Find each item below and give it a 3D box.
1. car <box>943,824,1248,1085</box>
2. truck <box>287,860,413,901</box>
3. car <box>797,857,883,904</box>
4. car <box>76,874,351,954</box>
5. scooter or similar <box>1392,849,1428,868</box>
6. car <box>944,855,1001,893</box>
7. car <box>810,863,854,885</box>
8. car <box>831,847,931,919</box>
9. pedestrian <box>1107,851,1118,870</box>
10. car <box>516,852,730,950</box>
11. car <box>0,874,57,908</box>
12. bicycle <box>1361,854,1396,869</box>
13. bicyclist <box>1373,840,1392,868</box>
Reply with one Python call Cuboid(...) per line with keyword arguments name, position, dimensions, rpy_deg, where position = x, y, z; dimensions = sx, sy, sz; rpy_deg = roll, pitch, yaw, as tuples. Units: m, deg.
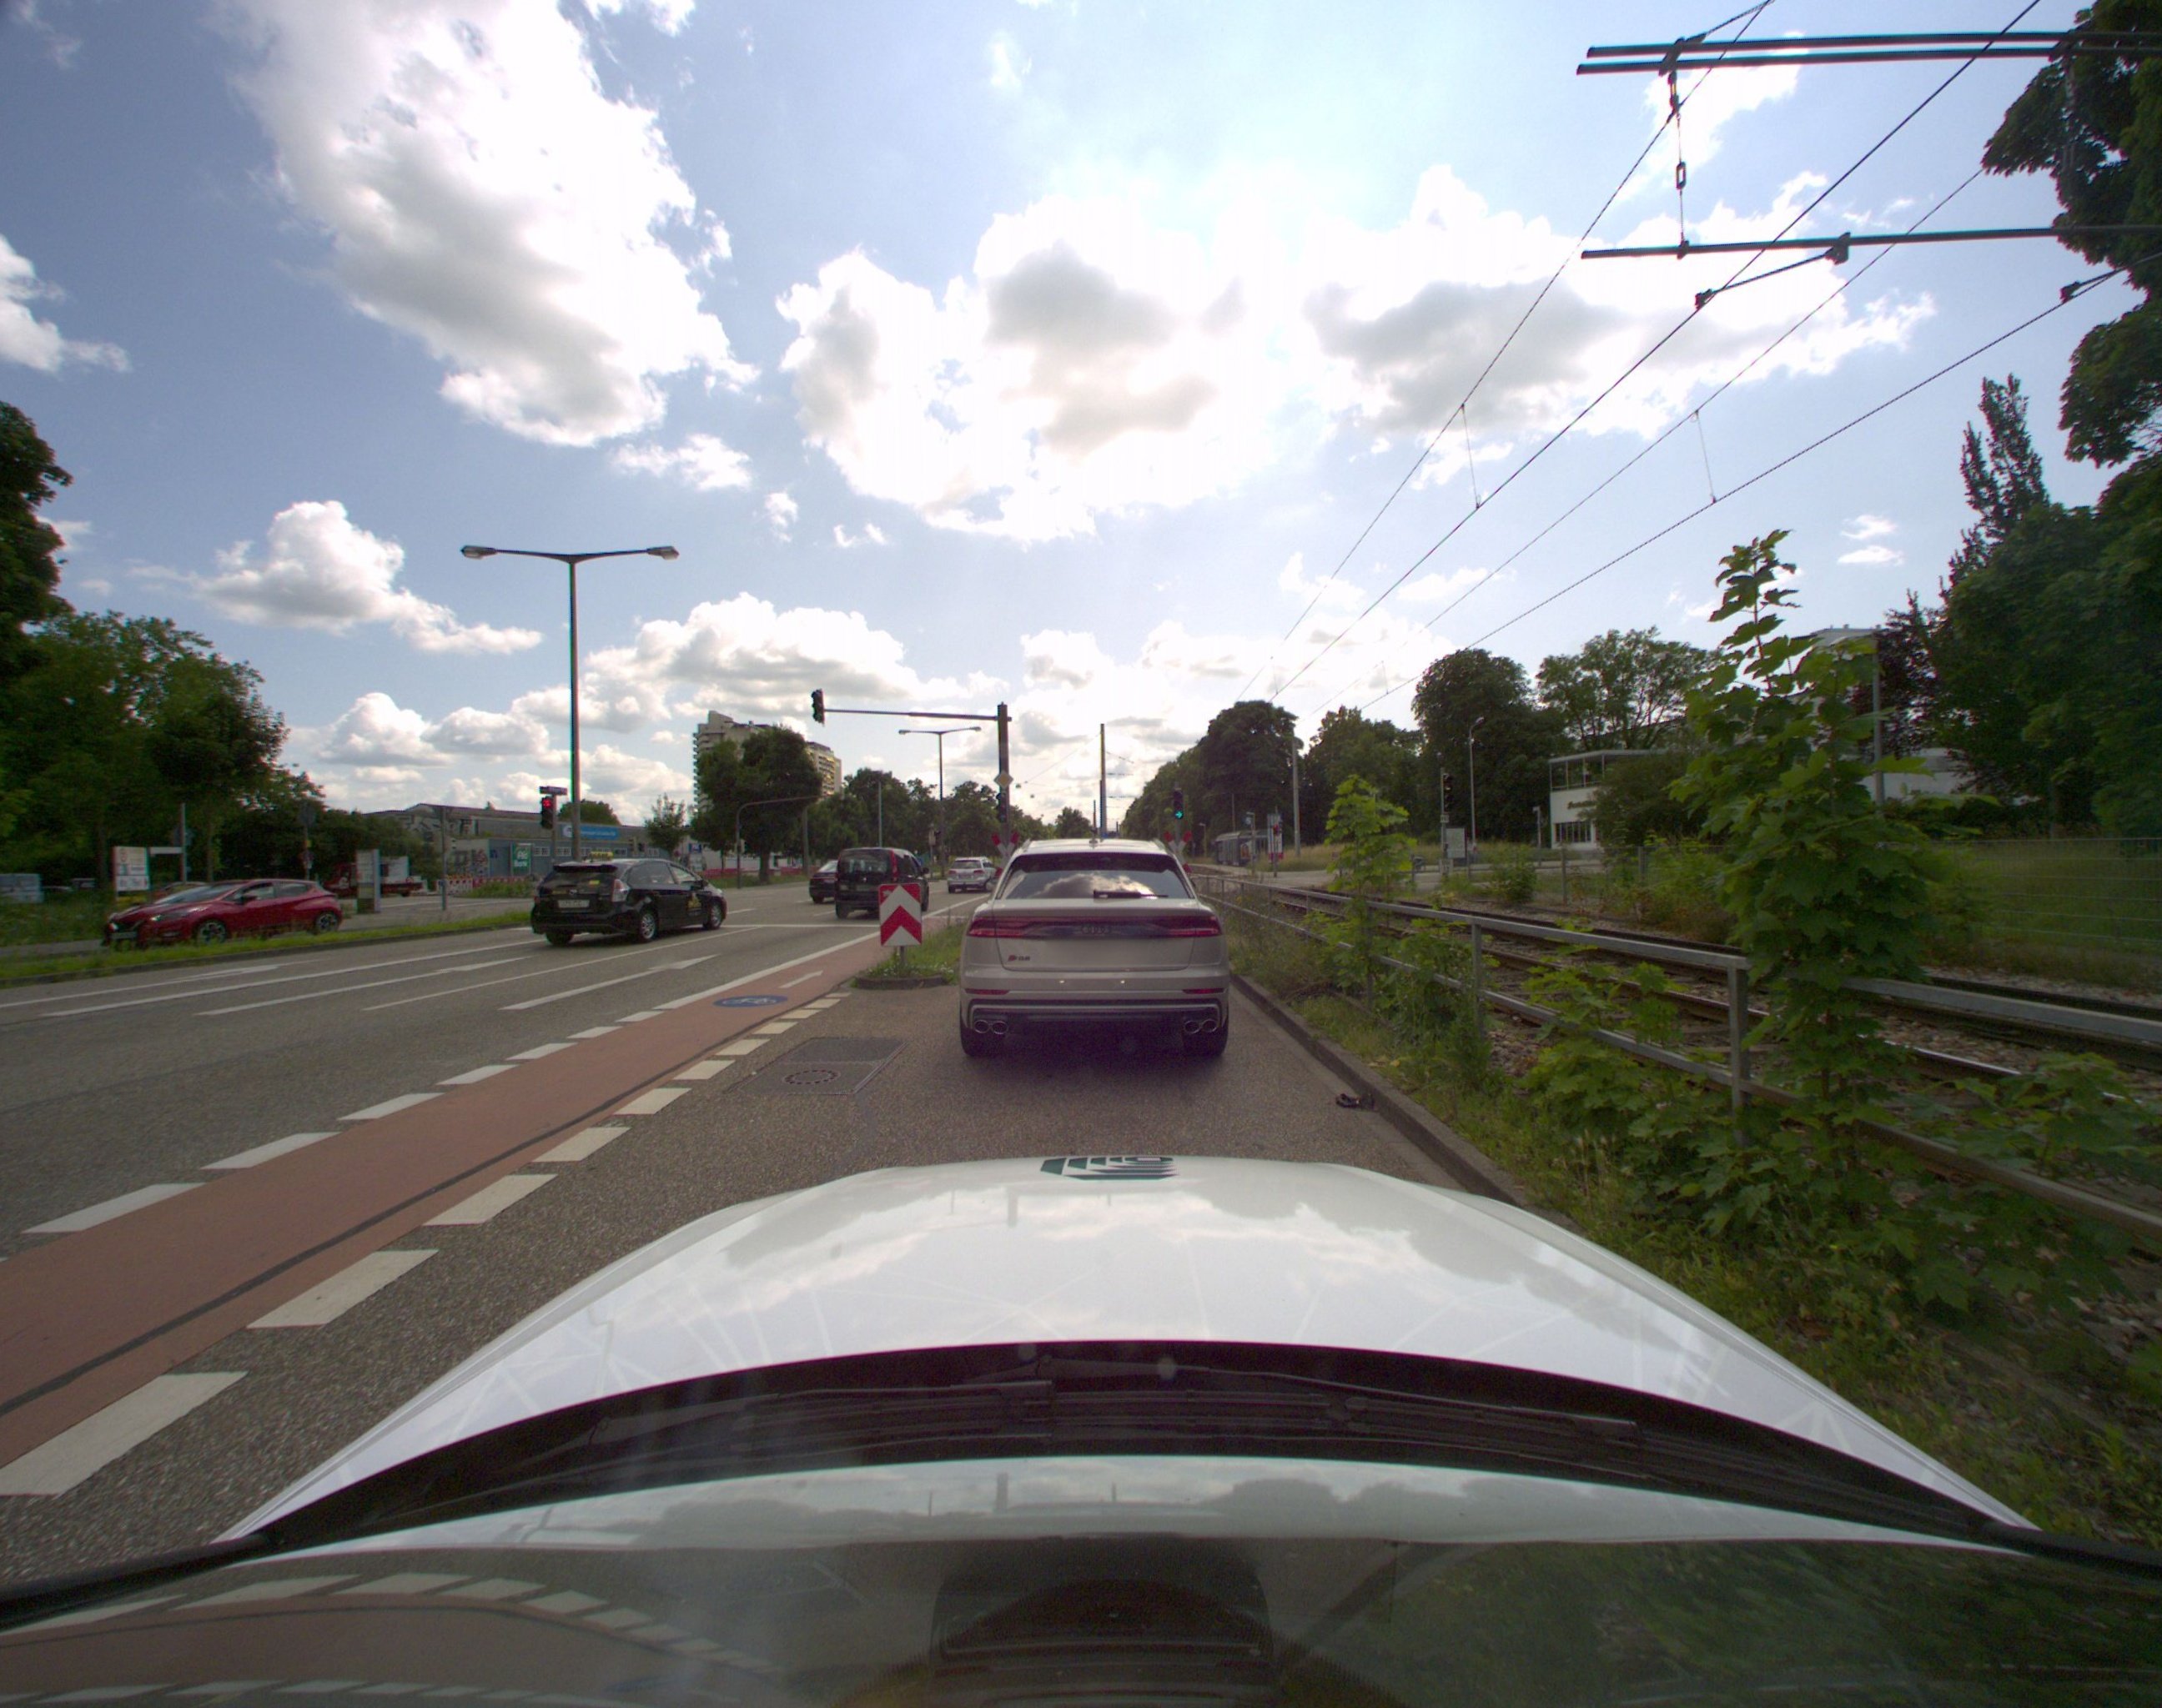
Cuboid(name="car", position=(0.162, 0.675, 7.585), dimensions=(1.974, 1.684, 4.576), rpy_deg=(0, -1, 2))
Cuboid(name="truck", position=(-47.489, 1.737, 52.947), dimensions=(6.906, 2.439, 3.054), rpy_deg=(-2, 0, 19))
Cuboid(name="car", position=(-8.288, 0.873, 28.360), dimensions=(1.859, 1.504, 3.998), rpy_deg=(0, -1, -1))
Cuboid(name="car", position=(-19.006, 1.230, 18.168), dimensions=(1.882, 1.512, 3.997), rpy_deg=(0, -1, -1))
Cuboid(name="scooter or similar", position=(17.859, 0.260, 44.195), dimensions=(1.568, 0.979, 0.963), rpy_deg=(-2, -1, 3))
Cuboid(name="car", position=(-4.549, 0.816, 34.685), dimensions=(1.779, 1.525, 4.301), rpy_deg=(0, -1, 1))
Cuboid(name="car", position=(-18.236, 1.419, 59.788), dimensions=(1.794, 1.432, 4.495), rpy_deg=(-2, 0, 0))
Cuboid(name="car", position=(-5.318, 0.735, 22.131), dimensions=(1.754, 1.777, 3.908), rpy_deg=(0, -1, 0))
Cuboid(name="pedestrian", position=(2.501, 0.494, 64.809), dimensions=(0.653, 1.513, 0.716), rpy_deg=(-2, 0, -8))
Cuboid(name="car", position=(-8.766, 0.823, 16.093), dimensions=(1.780, 1.668, 4.339), rpy_deg=(0, -1, 0))
Cuboid(name="car", position=(-58.427, 2.001, 44.507), dimensions=(3.578, 1.793, 1.946), rpy_deg=(-1, -1, 18))
Cuboid(name="bicycle", position=(16.186, 0.415, 44.327), dimensions=(1.714, 0.765, 0.556), rpy_deg=(-1, -1, 3))
Cuboid(name="bicyclist", position=(16.372, 0.016, 44.284), dimensions=(0.835, 1.475, 0.456), rpy_deg=(-2, -1, 3))
